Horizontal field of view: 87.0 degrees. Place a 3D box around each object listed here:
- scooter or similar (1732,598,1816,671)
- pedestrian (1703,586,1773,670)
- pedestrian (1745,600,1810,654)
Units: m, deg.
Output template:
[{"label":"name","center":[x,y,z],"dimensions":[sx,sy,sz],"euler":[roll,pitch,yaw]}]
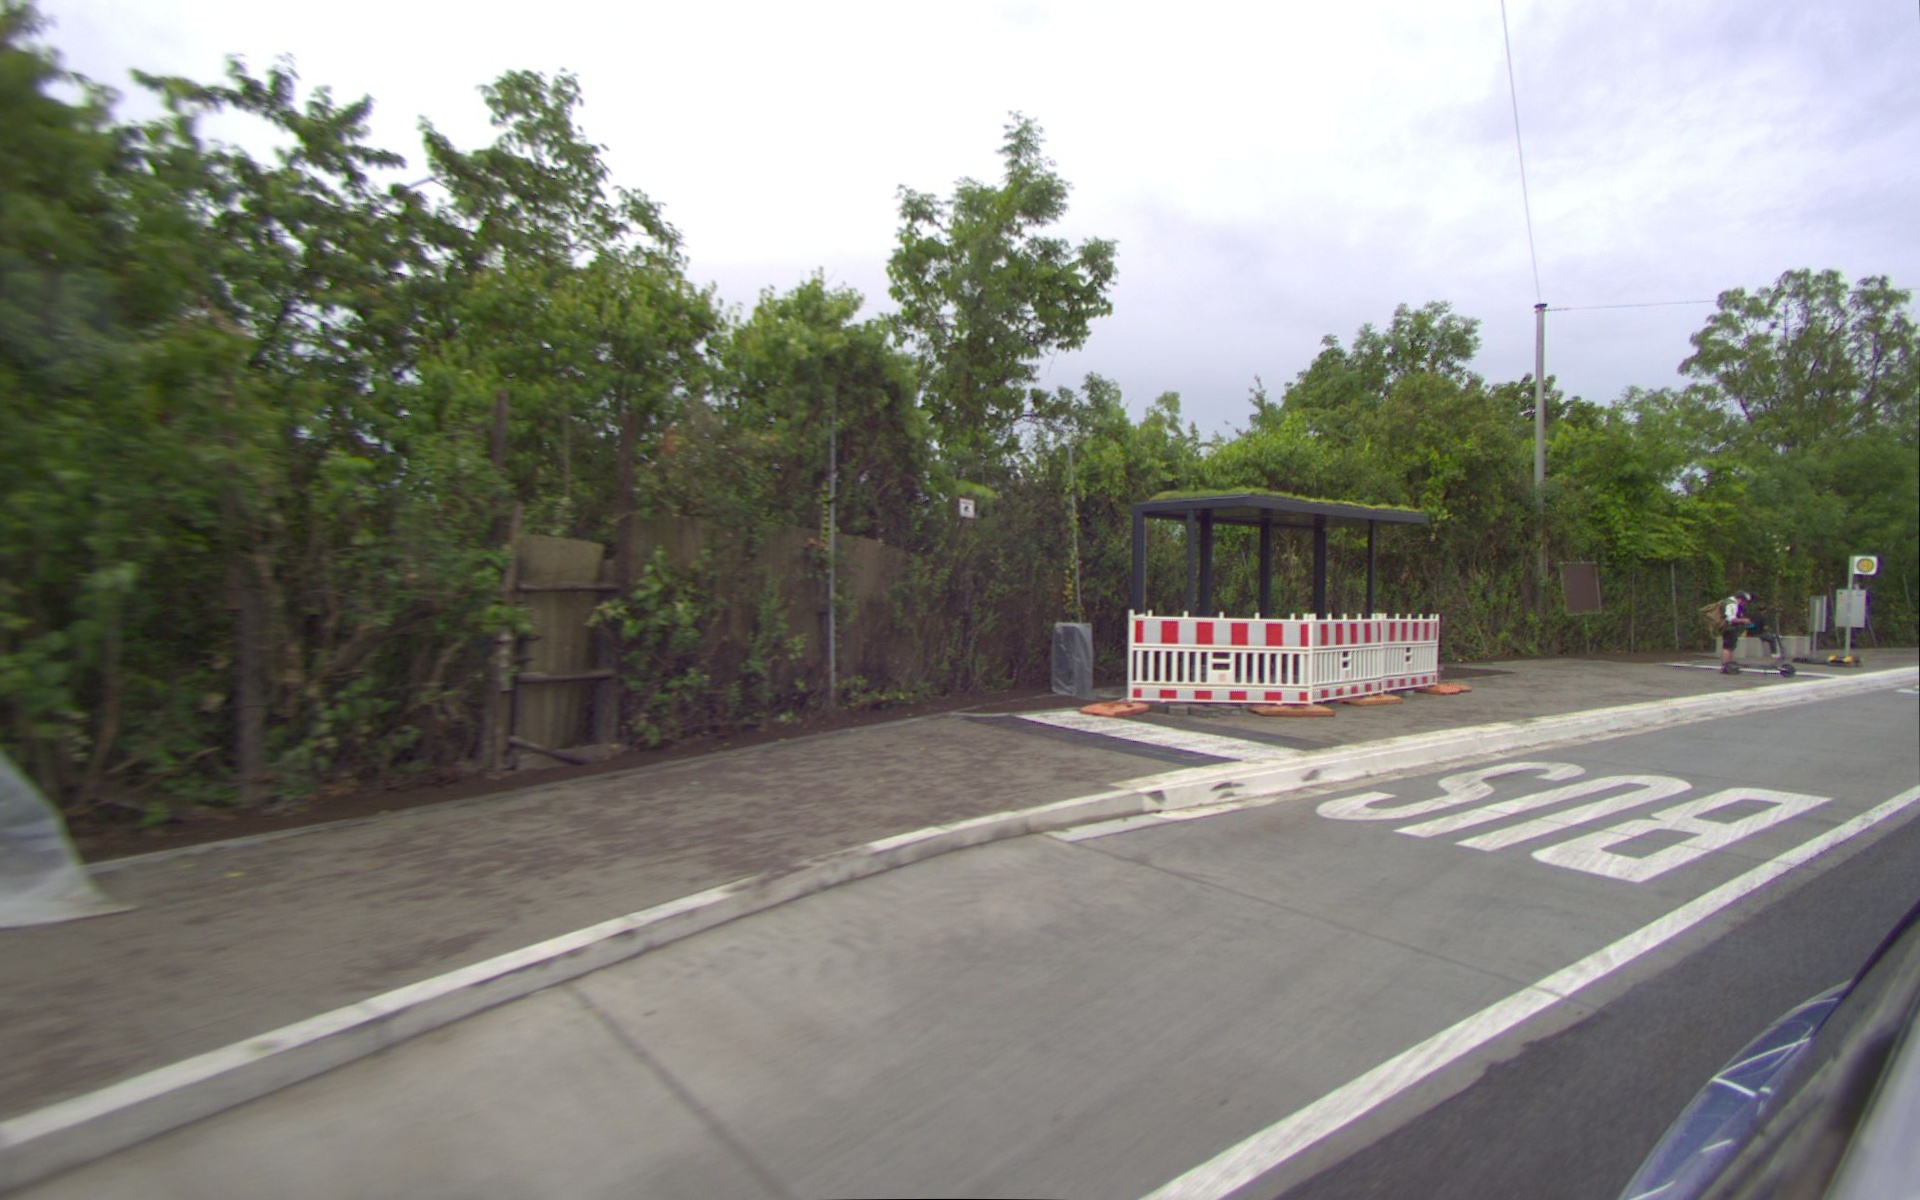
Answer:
[{"label":"scooter or similar","center":[15.366,0.639,19.117],"dimensions":[1.225,1.332,0.231],"euler":[1,0,15]},{"label":"pedestrian","center":[14.970,0.519,19.490],"dimensions":[0.908,1.566,0.542],"euler":[1,0,17]},{"label":"pedestrian","center":[21.101,0.673,26.156],"dimensions":[1.053,1.346,0.806],"euler":[1,0,17]}]
